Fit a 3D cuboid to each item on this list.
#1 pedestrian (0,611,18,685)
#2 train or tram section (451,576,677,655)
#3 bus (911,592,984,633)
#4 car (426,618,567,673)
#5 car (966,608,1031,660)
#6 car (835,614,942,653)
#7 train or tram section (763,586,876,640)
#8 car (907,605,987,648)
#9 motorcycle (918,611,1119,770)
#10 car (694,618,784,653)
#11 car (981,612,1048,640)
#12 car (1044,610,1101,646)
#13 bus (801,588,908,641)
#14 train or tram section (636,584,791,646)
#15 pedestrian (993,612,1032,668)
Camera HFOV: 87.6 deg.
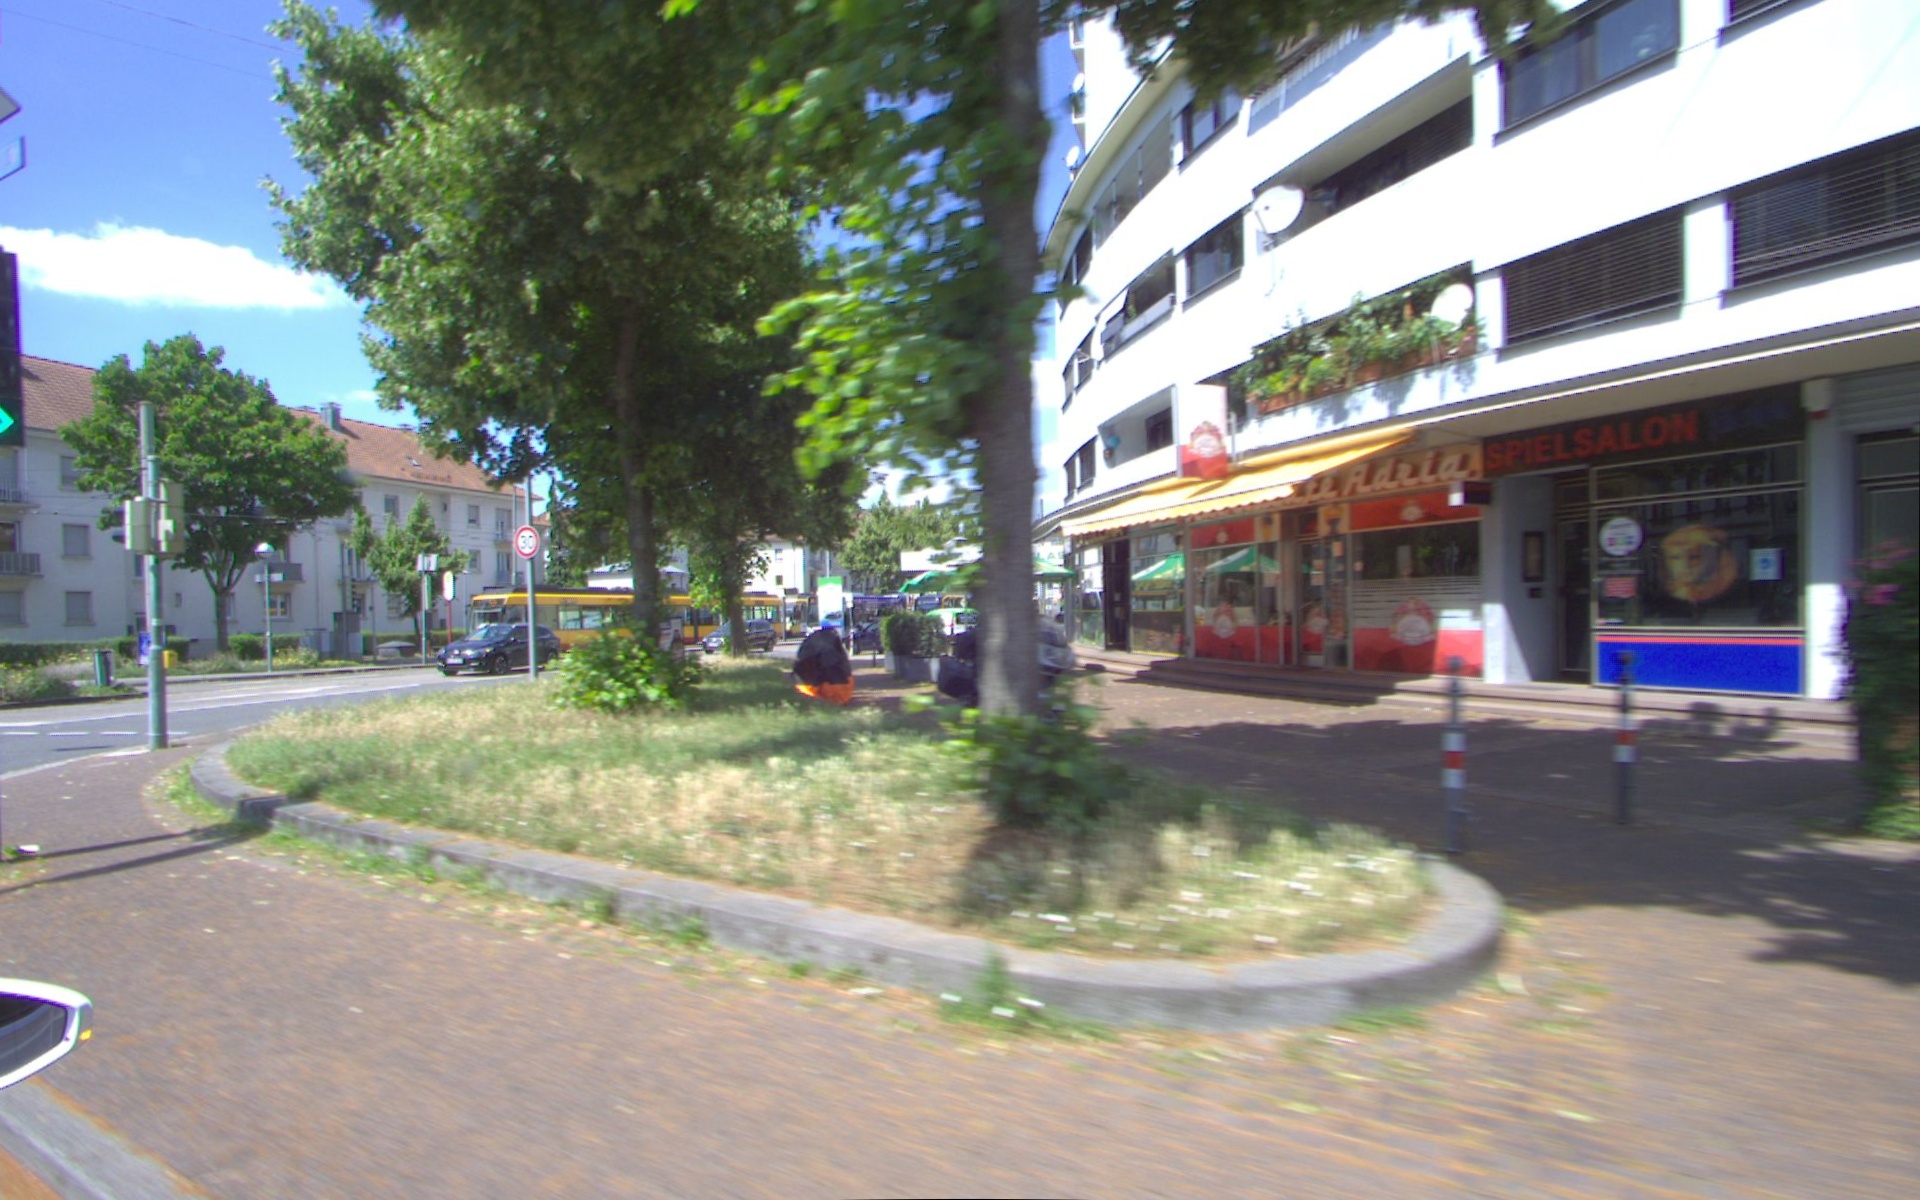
[{"bbox_3d":[-22.722,1.130,23.329,0.747,1.727,0.838,0,0,5],"label":"pedestrian"},{"bbox_3d":[-20.066,0.811,52.539,2.768,3.615,14.159,-1,-1,17],"label":"train or tram section"},{"bbox_3d":[-0.873,1.081,85.531,2.690,3.169,11.991,-1,-1,17],"label":"bus"},{"bbox_3d":[-14.053,1.336,30.670,1.961,1.519,4.426,-1,-1,5],"label":"car"},{"bbox_3d":[1.094,1.023,30.381,1.674,1.447,4.365,-1,-2,-2],"label":"car"},{"bbox_3d":[-2.886,1.348,40.076,4.124,1.458,1.887,-2,-1,40],"label":"car"},{"bbox_3d":[-11.080,1.071,81.603,2.744,3.946,15.528,-1,-1,17],"label":"train or tram section"},{"bbox_3d":[-0.620,1.190,45.098,1.816,1.817,4.004,-1,-1,-31],"label":"car"},{"bbox_3d":[0.482,0.788,9.579,0.905,1.329,2.215,1,-1,-28],"label":"motorcycle"},{"bbox_3d":[-10.017,1.587,45.775,1.965,1.539,4.504,-1,-1,19],"label":"car"},{"bbox_3d":[3.275,1.533,59.551,3.866,1.538,1.823,-1,-1,6],"label":"car"},{"bbox_3d":[5.354,1.295,47.215,1.977,1.616,4.284,-1,-1,16],"label":"car"},{"bbox_3d":[-6.788,0.966,67.103,2.690,3.169,11.991,-1,-1,17],"label":"bus"},{"bbox_3d":[-15.798,0.973,66.294,2.744,3.615,14.683,-1,-1,17],"label":"train or tram section"},{"bbox_3d":[1.290,0.969,24.566,0.800,1.322,1.017,0,0,-6],"label":"pedestrian"}]
